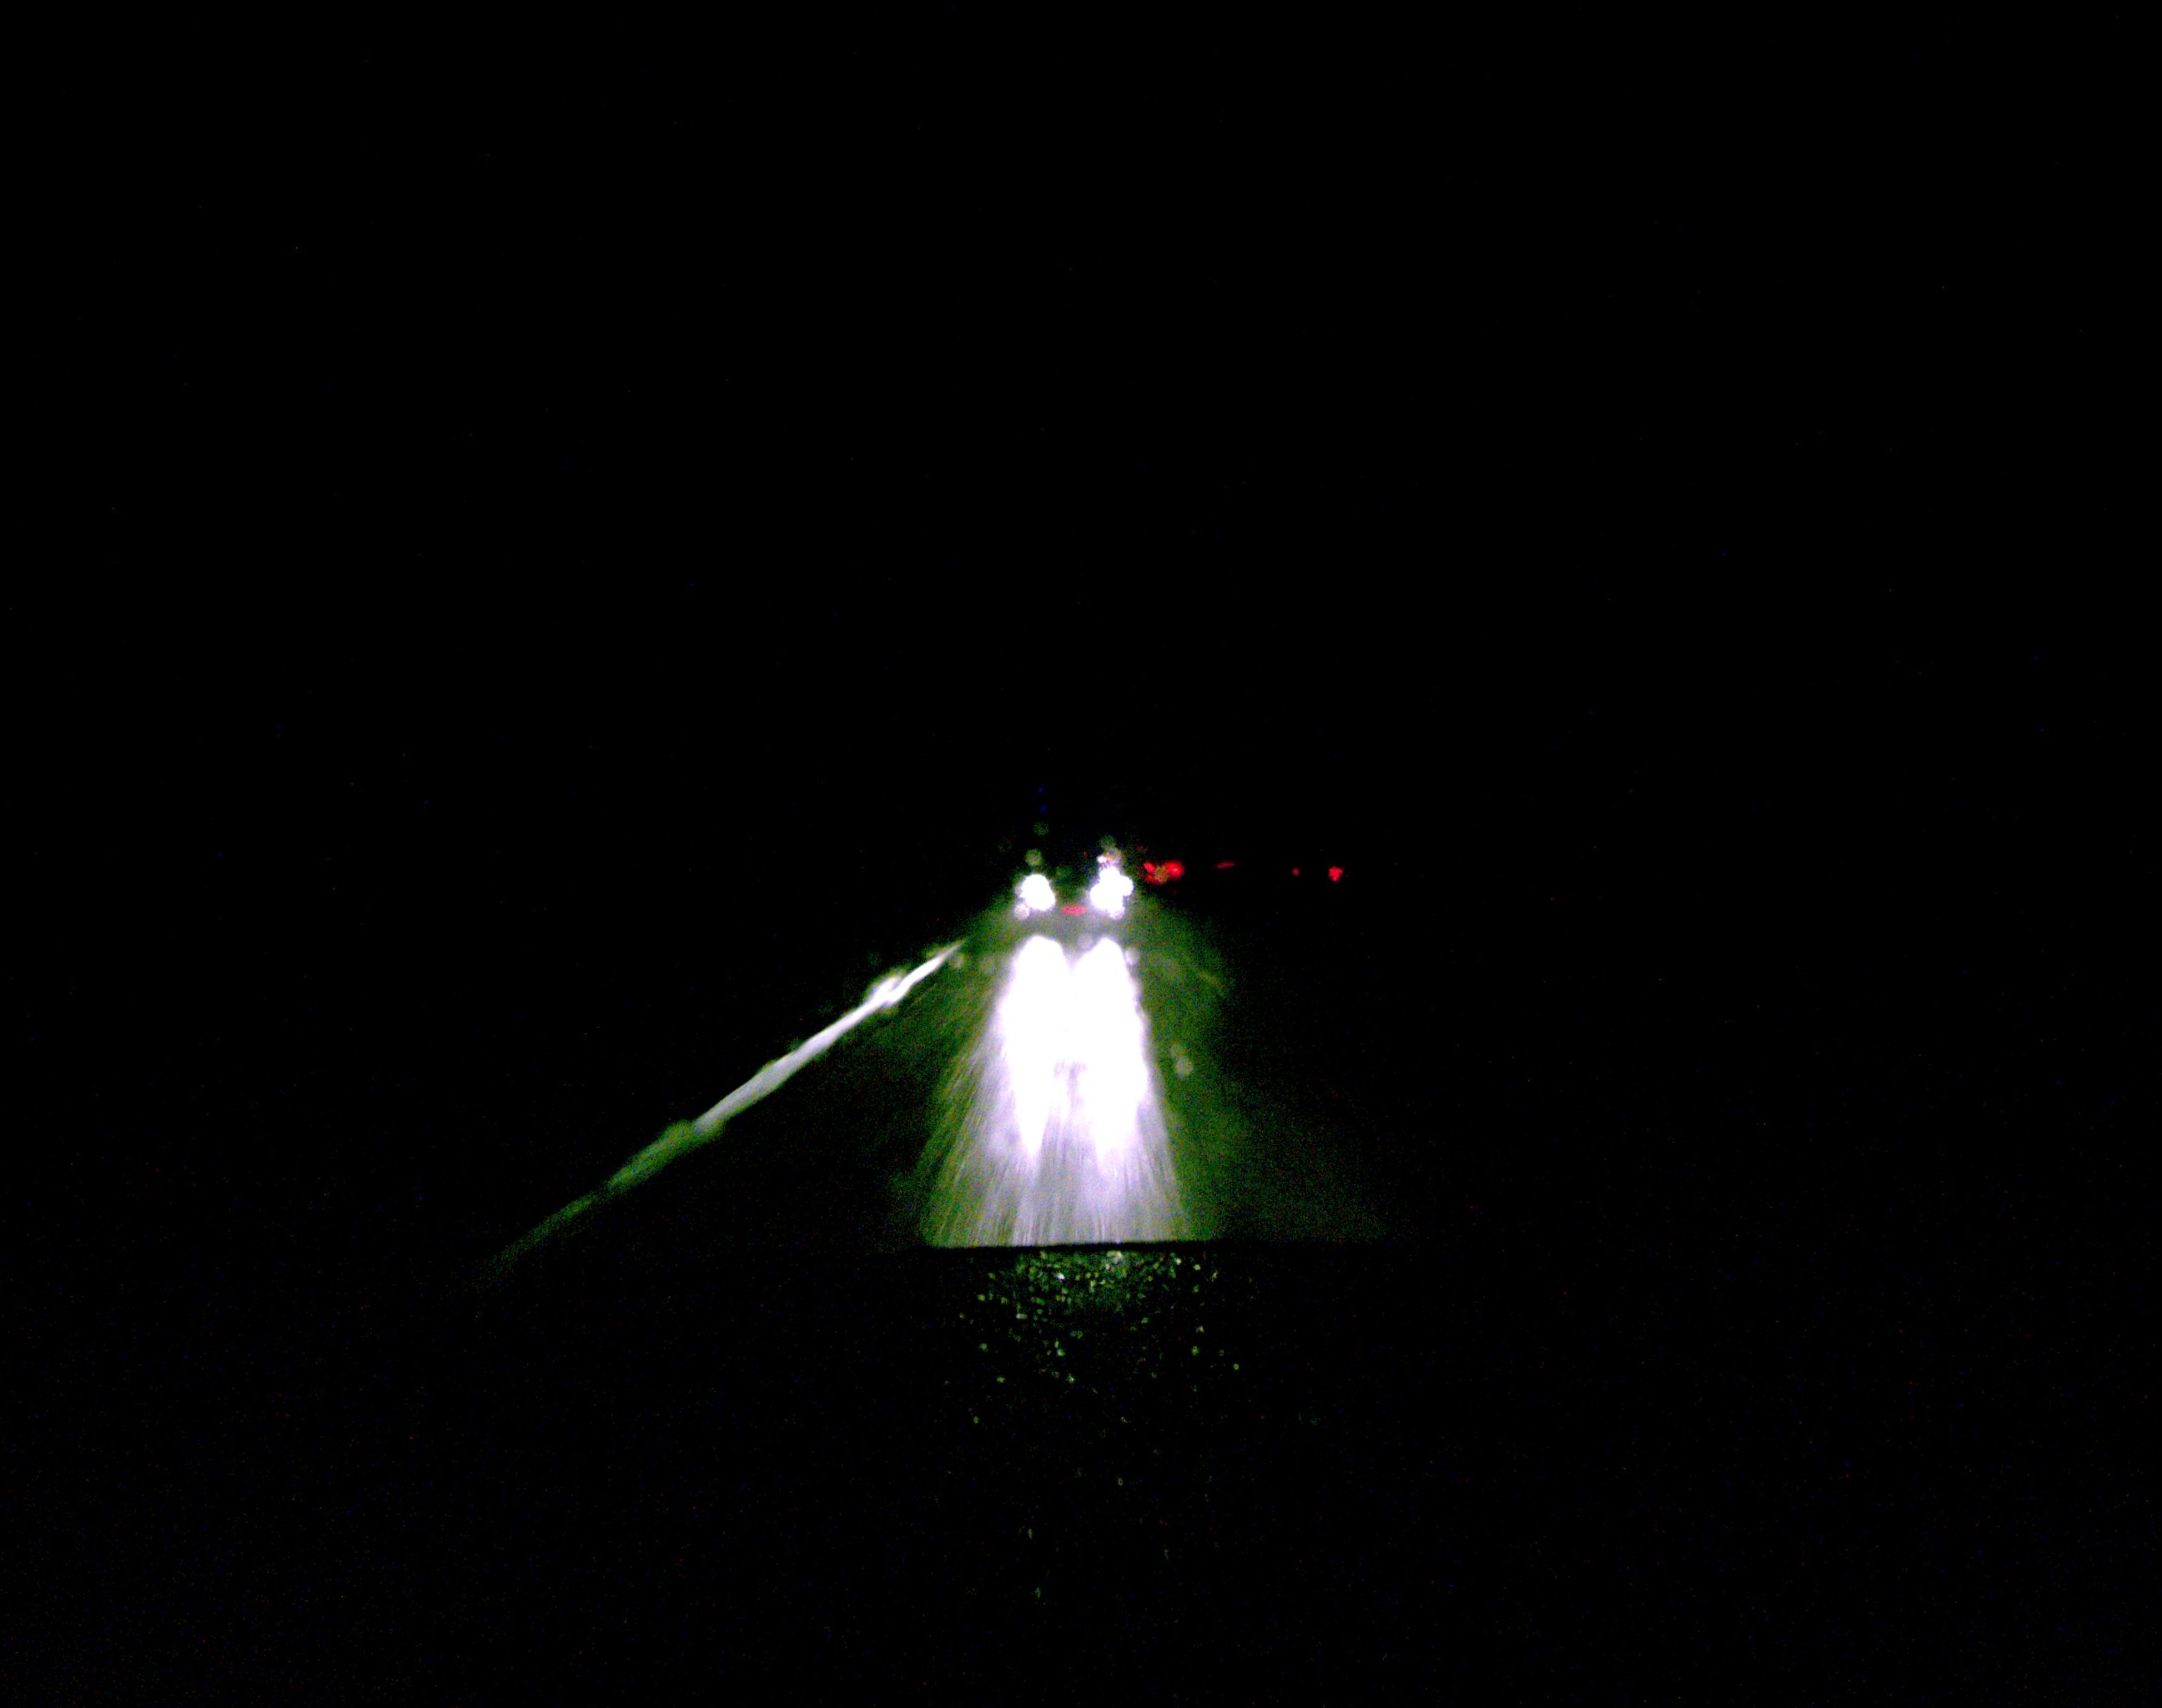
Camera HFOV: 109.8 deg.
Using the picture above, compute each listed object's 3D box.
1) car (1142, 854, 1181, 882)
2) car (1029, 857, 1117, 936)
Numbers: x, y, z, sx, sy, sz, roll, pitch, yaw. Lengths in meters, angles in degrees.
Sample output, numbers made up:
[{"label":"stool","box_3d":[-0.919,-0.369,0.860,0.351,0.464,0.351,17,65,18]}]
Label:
[{"label":"car","box_3d":[4.759,0.840,45.606,1.867,1.535,4.230,-2,-1,0]},{"label":"car","box_3d":[-0.073,0.916,18.440,1.862,1.601,4.420,-1,0,3]}]
